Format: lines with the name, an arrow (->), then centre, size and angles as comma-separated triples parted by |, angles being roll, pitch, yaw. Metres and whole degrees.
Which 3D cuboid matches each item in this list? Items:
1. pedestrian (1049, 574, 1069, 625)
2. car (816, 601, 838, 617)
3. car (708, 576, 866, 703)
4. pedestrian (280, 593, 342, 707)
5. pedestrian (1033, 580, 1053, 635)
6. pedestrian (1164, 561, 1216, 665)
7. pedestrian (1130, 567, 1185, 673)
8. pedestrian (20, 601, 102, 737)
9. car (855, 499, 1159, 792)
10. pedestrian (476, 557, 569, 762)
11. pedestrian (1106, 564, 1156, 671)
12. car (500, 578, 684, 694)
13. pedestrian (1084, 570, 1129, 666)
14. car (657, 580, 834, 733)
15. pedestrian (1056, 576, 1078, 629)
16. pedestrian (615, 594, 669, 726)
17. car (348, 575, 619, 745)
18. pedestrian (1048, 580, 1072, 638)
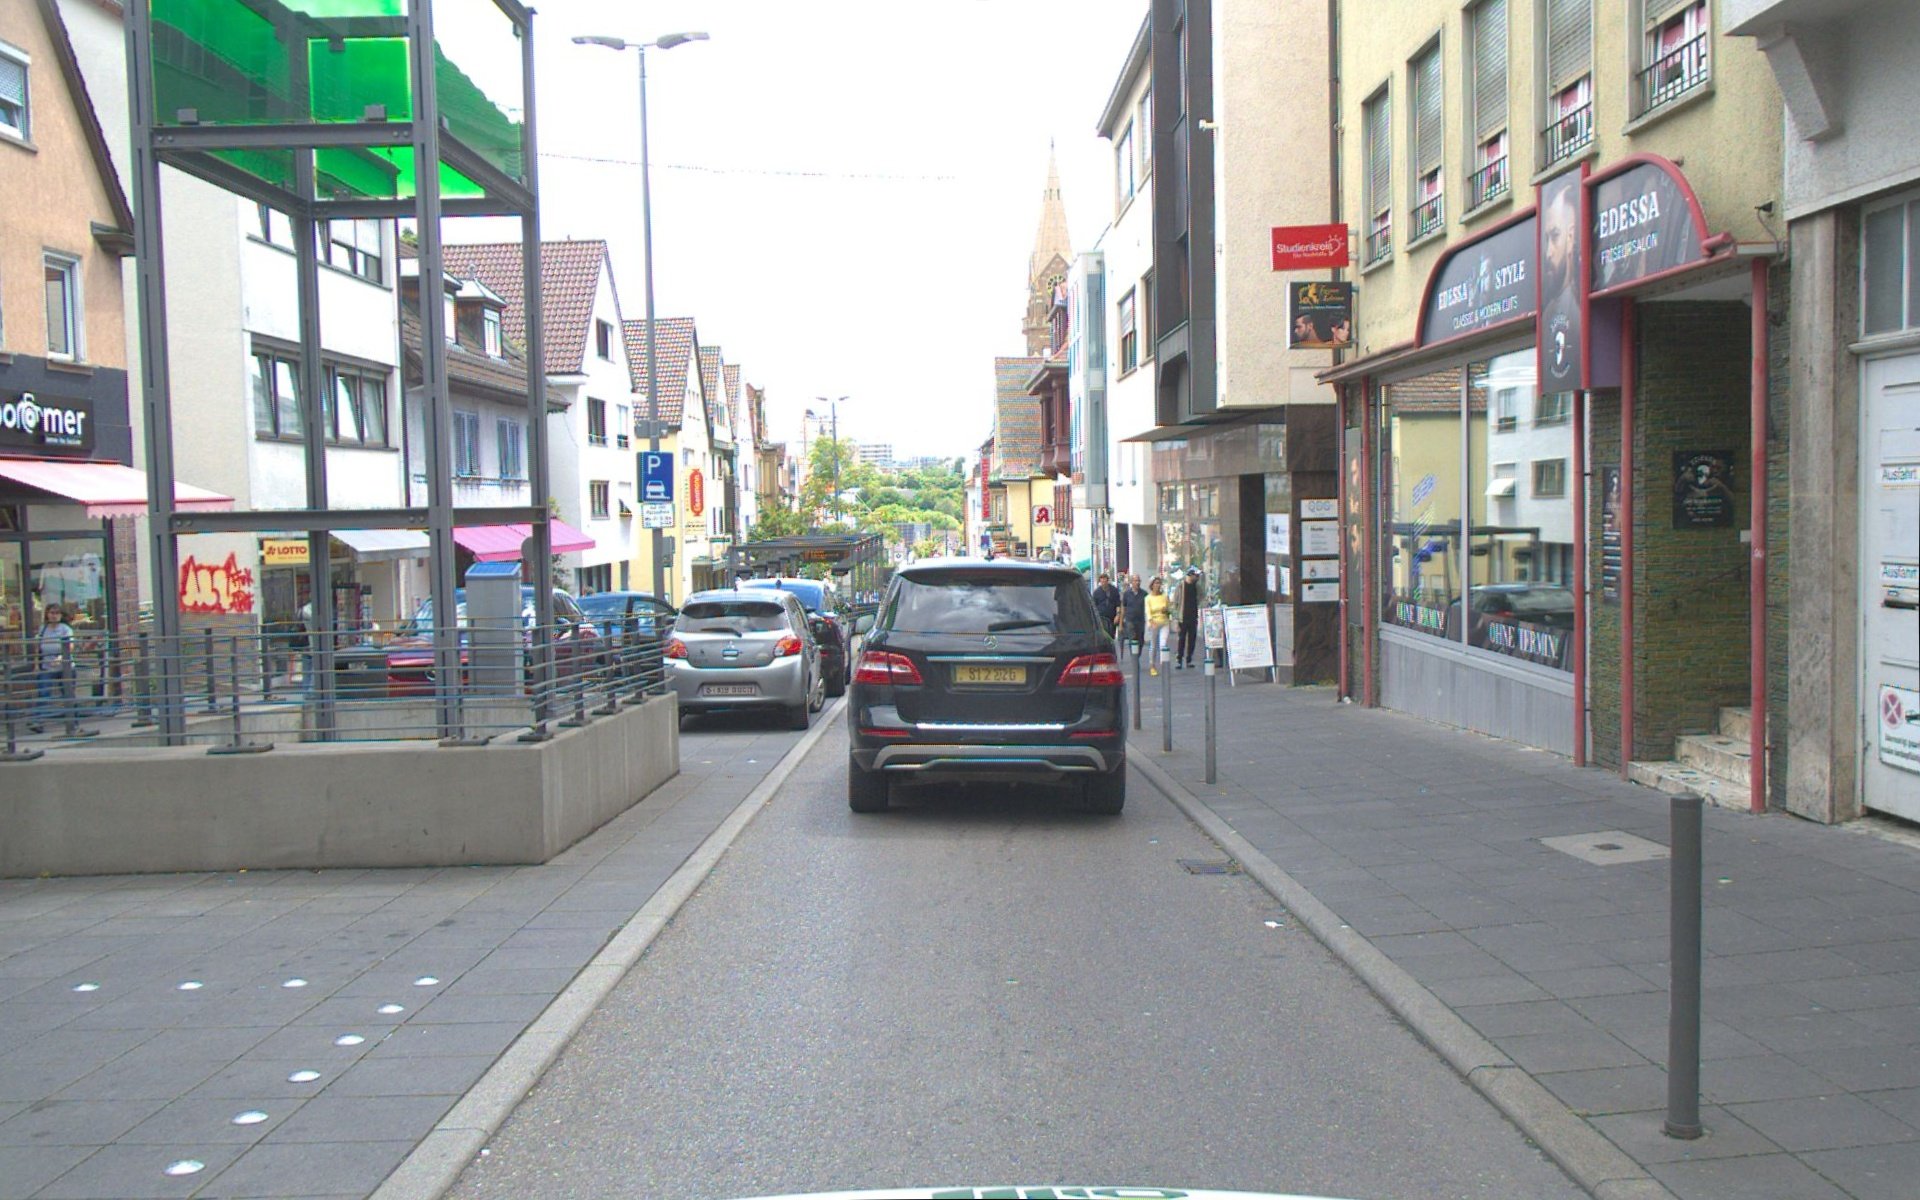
pedestrian -> 3.367, -0.021, 56.224 | 0.562, 1.718, 0.565 | 1, 0, -7
car -> -9.695, 0.628, 120.306 | 1.360, 1.089, 3.112 | -1, 0, -1
car -> -2.430, 0.518, 24.213 | 1.917, 1.668, 4.313 | 1, 0, -1
pedestrian -> -9.935, 0.747, 25.318 | 0.634, 1.718, 0.663 | 0, 0, 39
pedestrian -> 2.705, 0.244, 53.902 | 0.532, 1.756, 0.527 | -1, 0, -7
pedestrian -> 3.929, 0.222, 28.330 | 0.650, 1.718, 0.542 | -4, 0, -7
pedestrian -> 3.176, 0.314, 26.675 | 0.696, 1.659, 0.835 | -3, 0, -1
pedestrian -> -10.990, 0.828, 20.237 | 0.553, 1.601, 0.716 | -3, 0, -1
car -> 0.211, 0.249, 12.332 | 1.862, 1.777, 3.998 | -1, 1, -3
pedestrian -> -3.746, 0.489, 14.215 | 0.522, 1.701, 0.901 | 0, 1, 2
pedestrian -> 2.934, 0.291, 28.480 | 0.696, 1.784, 0.785 | -3, 0, -1
car -> -5.272, 0.455, 24.182 | 1.703, 1.501, 3.885 | 1, 1, 1
pedestrian -> 2.807, 0.333, 31.688 | 0.696, 1.784, 0.787 | -3, 0, -1
car -> -2.345, 0.576, 18.862 | 1.587, 1.559, 3.669 | 1, 0, -1
pedestrian -> 3.573, 0.081, 55.311 | 0.562, 1.718, 0.565 | -2, 0, -7
pedestrian -> -3.629, 0.674, 18.884 | 0.457, 1.456, 0.492 | -3, 0, -1
car -> -4.875, 0.556, 17.533 | 1.703, 1.570, 4.192 | 1, 0, -1
pedestrian -> 2.971, 0.269, 49.265 | 0.609, 1.718, 0.565 | 1, 0, -7
